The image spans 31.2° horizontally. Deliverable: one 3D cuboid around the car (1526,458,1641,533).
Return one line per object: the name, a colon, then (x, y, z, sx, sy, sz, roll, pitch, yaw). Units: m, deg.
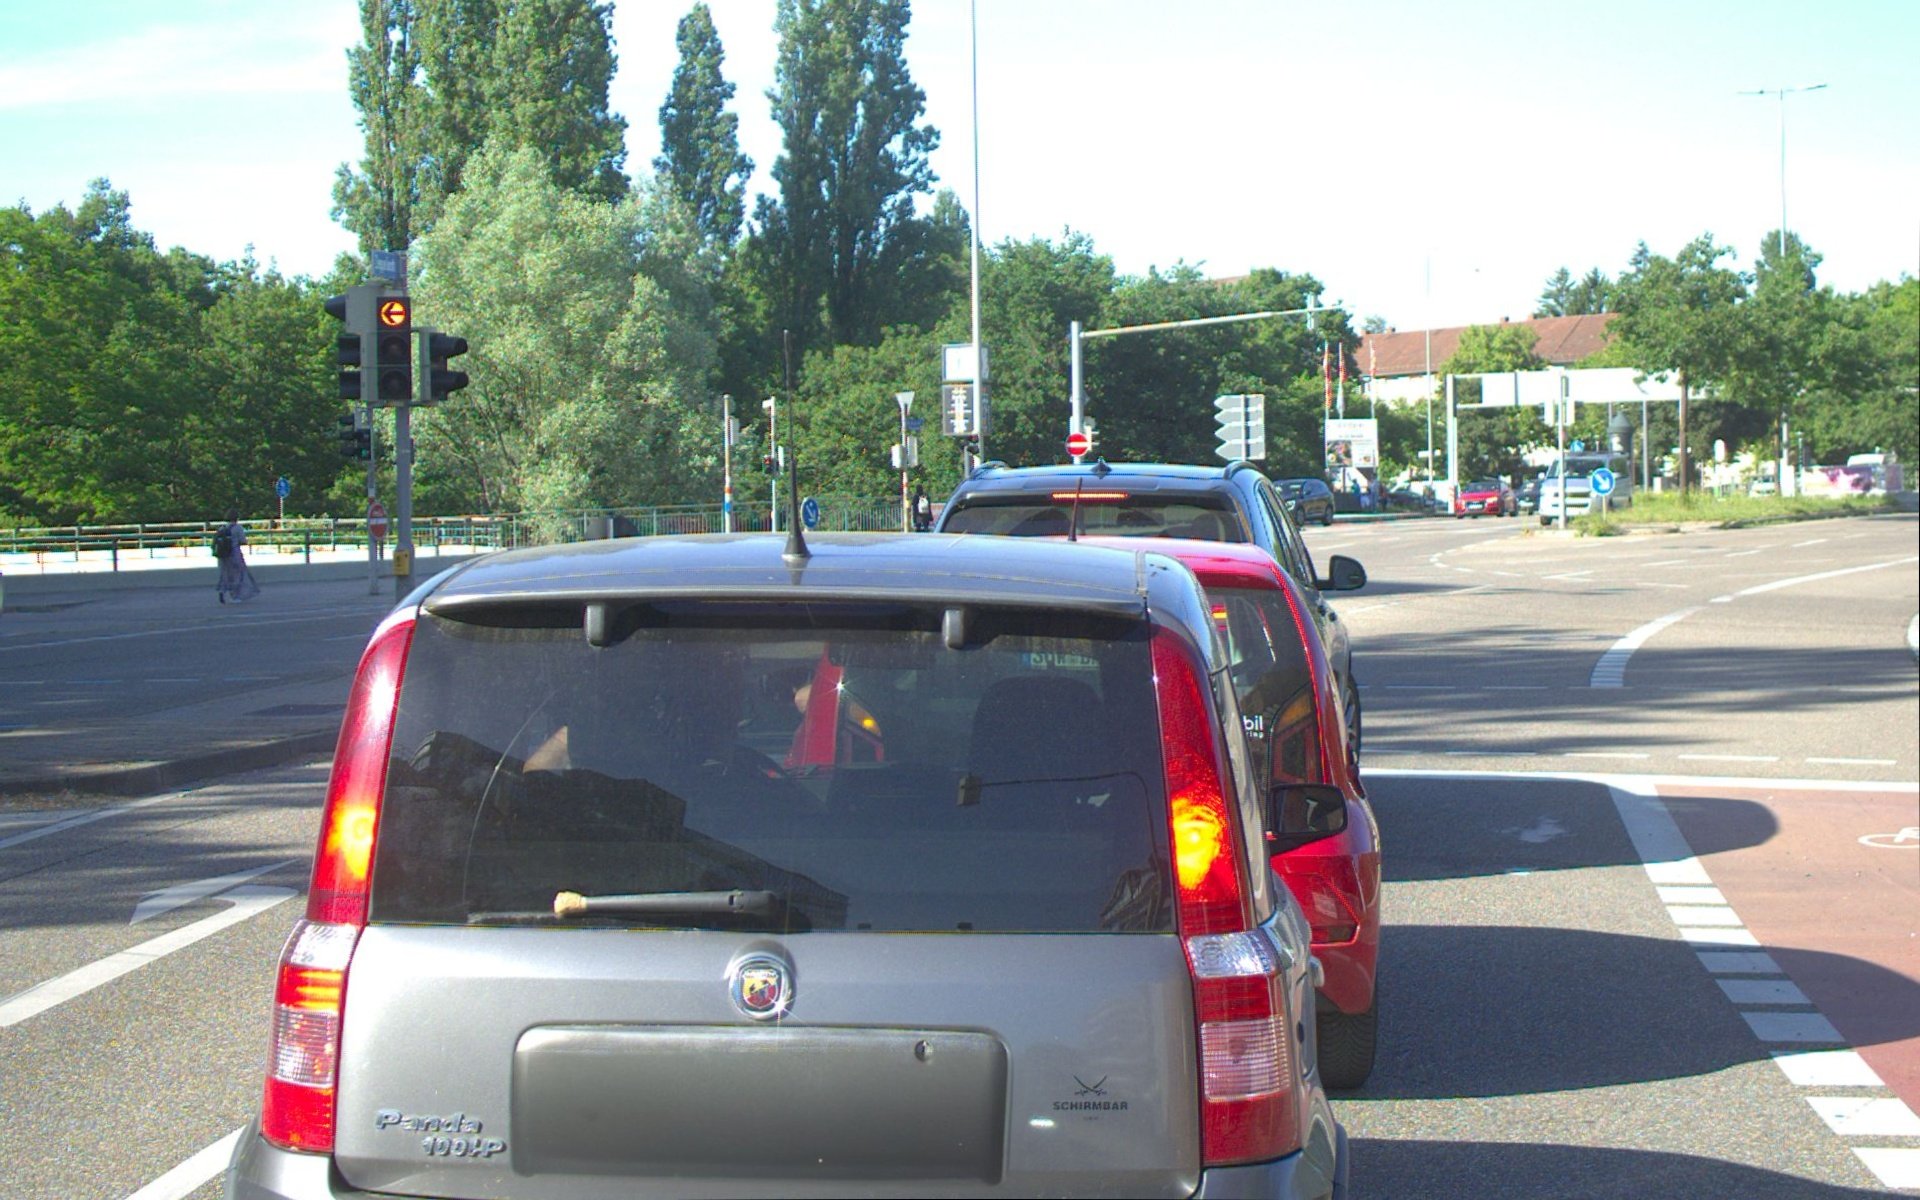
car: (17.193, -2.840, 94.571, 2.015, 1.848, 4.880, 0, -1, 24)

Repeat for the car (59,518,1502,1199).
car: (-0.141, 0.622, 6.370, 1.820, 1.484, 4.000, 2, 2, 3)

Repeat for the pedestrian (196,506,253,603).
pedestrian: (-12.161, -0.747, 56.866, 0.686, 1.533, 1.366, 0, -3, -3)

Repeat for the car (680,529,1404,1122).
car: (0.284, 0.530, 10.726, 1.820, 1.474, 4.000, 1, 1, 2)

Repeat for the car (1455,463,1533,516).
car: (20.627, -4.248, 132.681, 2.015, 1.848, 4.881, 0, -1, 21)

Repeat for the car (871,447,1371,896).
car: (0.901, 0.210, 16.101, 1.869, 1.784, 4.413, 1, 2, 9)

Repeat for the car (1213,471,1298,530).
car: (10.280, -3.432, 119.345, 2.015, 1.848, 4.427, 0, -1, 18)
